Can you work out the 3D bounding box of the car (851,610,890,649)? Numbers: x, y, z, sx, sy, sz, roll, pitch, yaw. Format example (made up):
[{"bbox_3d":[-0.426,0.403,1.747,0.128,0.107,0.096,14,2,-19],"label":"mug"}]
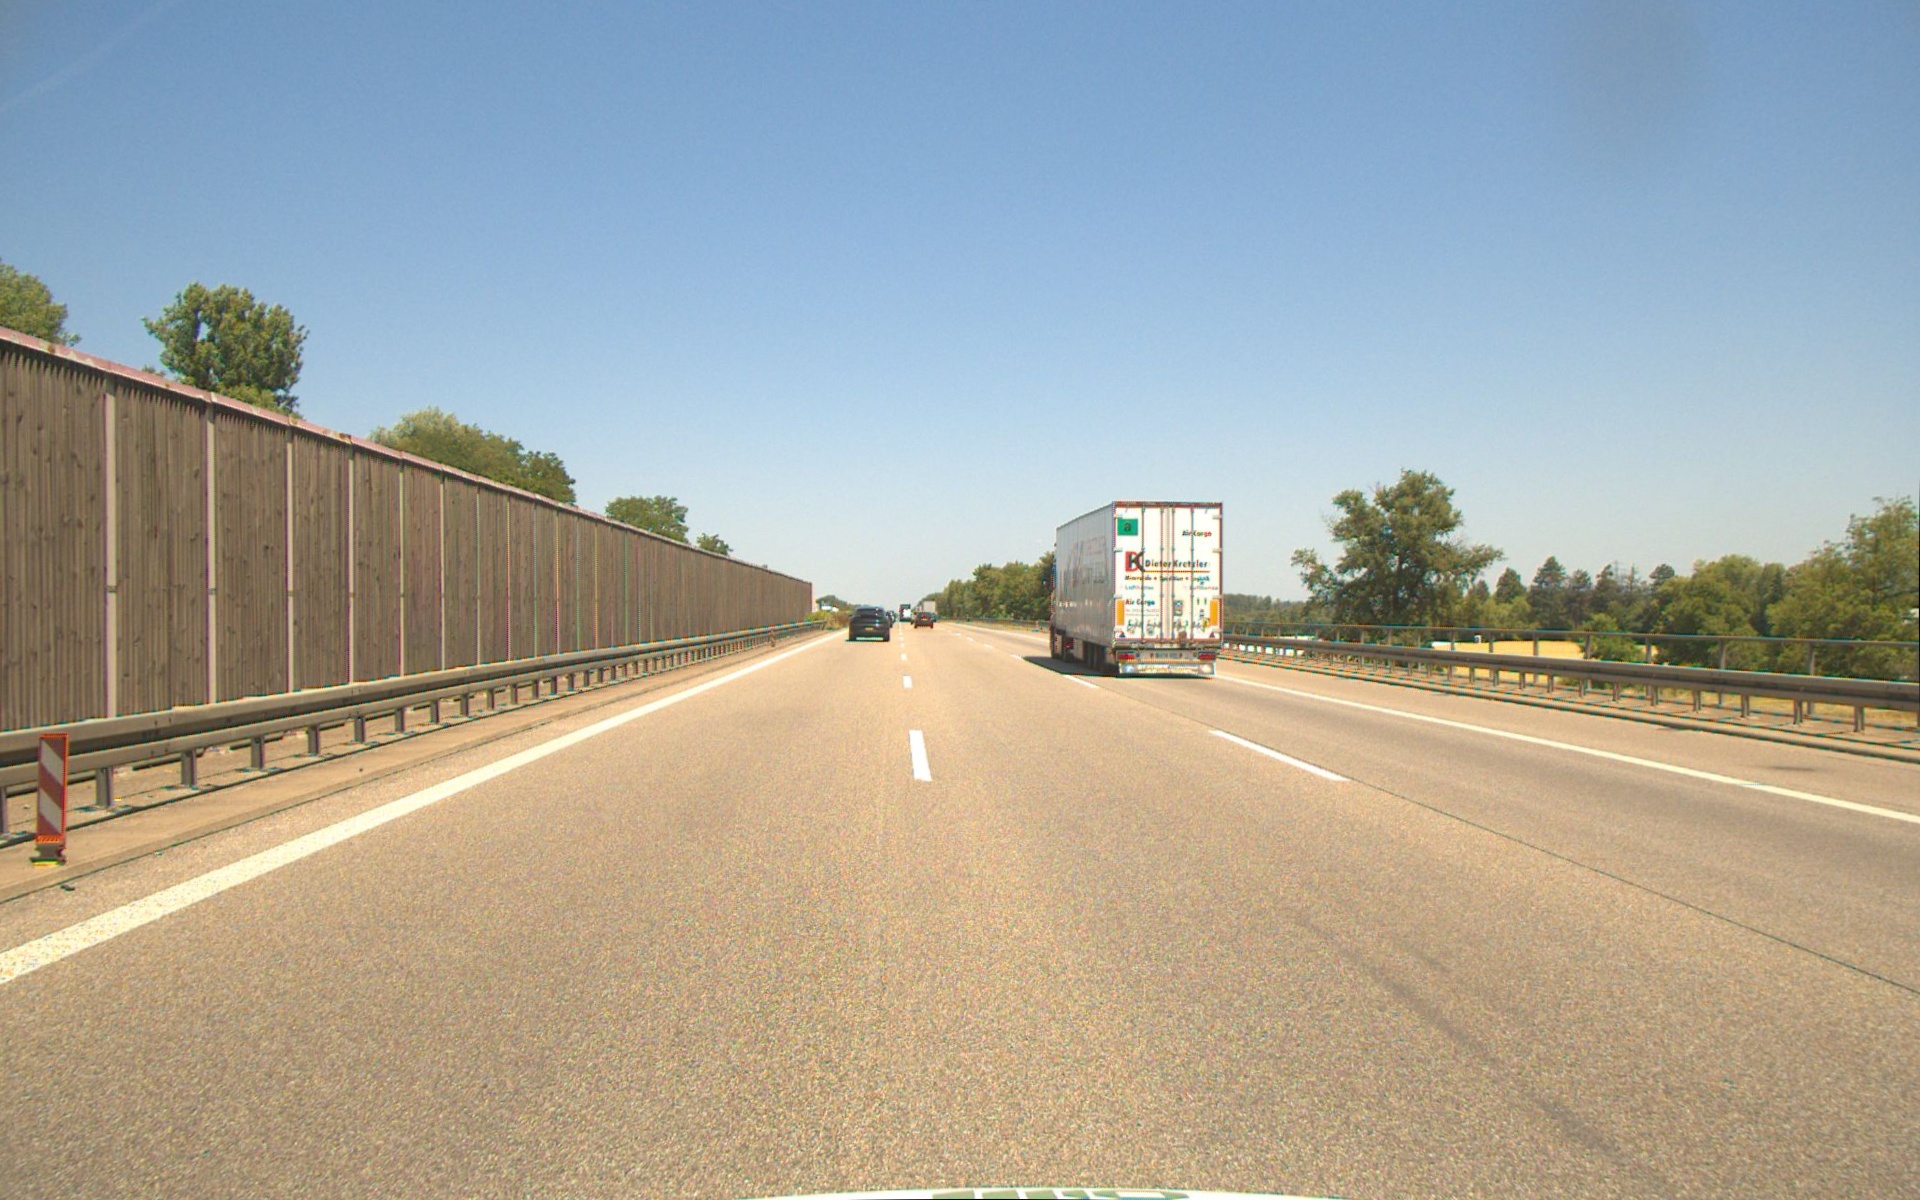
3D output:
[{"bbox_3d":[-4.350,1.401,80.012,1.843,1.823,3.997,0,0,-3],"label":"car"}]

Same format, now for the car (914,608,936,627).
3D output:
[{"bbox_3d":[-3.114,1.587,145.614,1.864,1.612,4.302,0,-1,-2],"label":"car"}]

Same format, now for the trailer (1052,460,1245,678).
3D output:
[{"bbox_3d":[4.692,-0.700,44.779,3.203,4.922,14.024,1,0,-2],"label":"trailer"}]

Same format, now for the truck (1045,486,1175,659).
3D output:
[{"bbox_3d":[4.507,-0.787,51.273,3.169,4.975,6.969,1,0,-2],"label":"truck"}]

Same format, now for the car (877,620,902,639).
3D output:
[{"bbox_3d":[-6.239,2.628,146.319,2.086,1.674,4.302,0,-1,-2],"label":"car"}]

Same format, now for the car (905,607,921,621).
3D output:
[{"bbox_3d":[-5.572,1.609,194.480,1.864,1.612,4.302,0,-1,-2],"label":"car"}]

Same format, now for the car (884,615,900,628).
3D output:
[{"bbox_3d":[-8.746,2.777,212.704,2.086,1.674,4.302,0,-1,-2],"label":"car"}]
